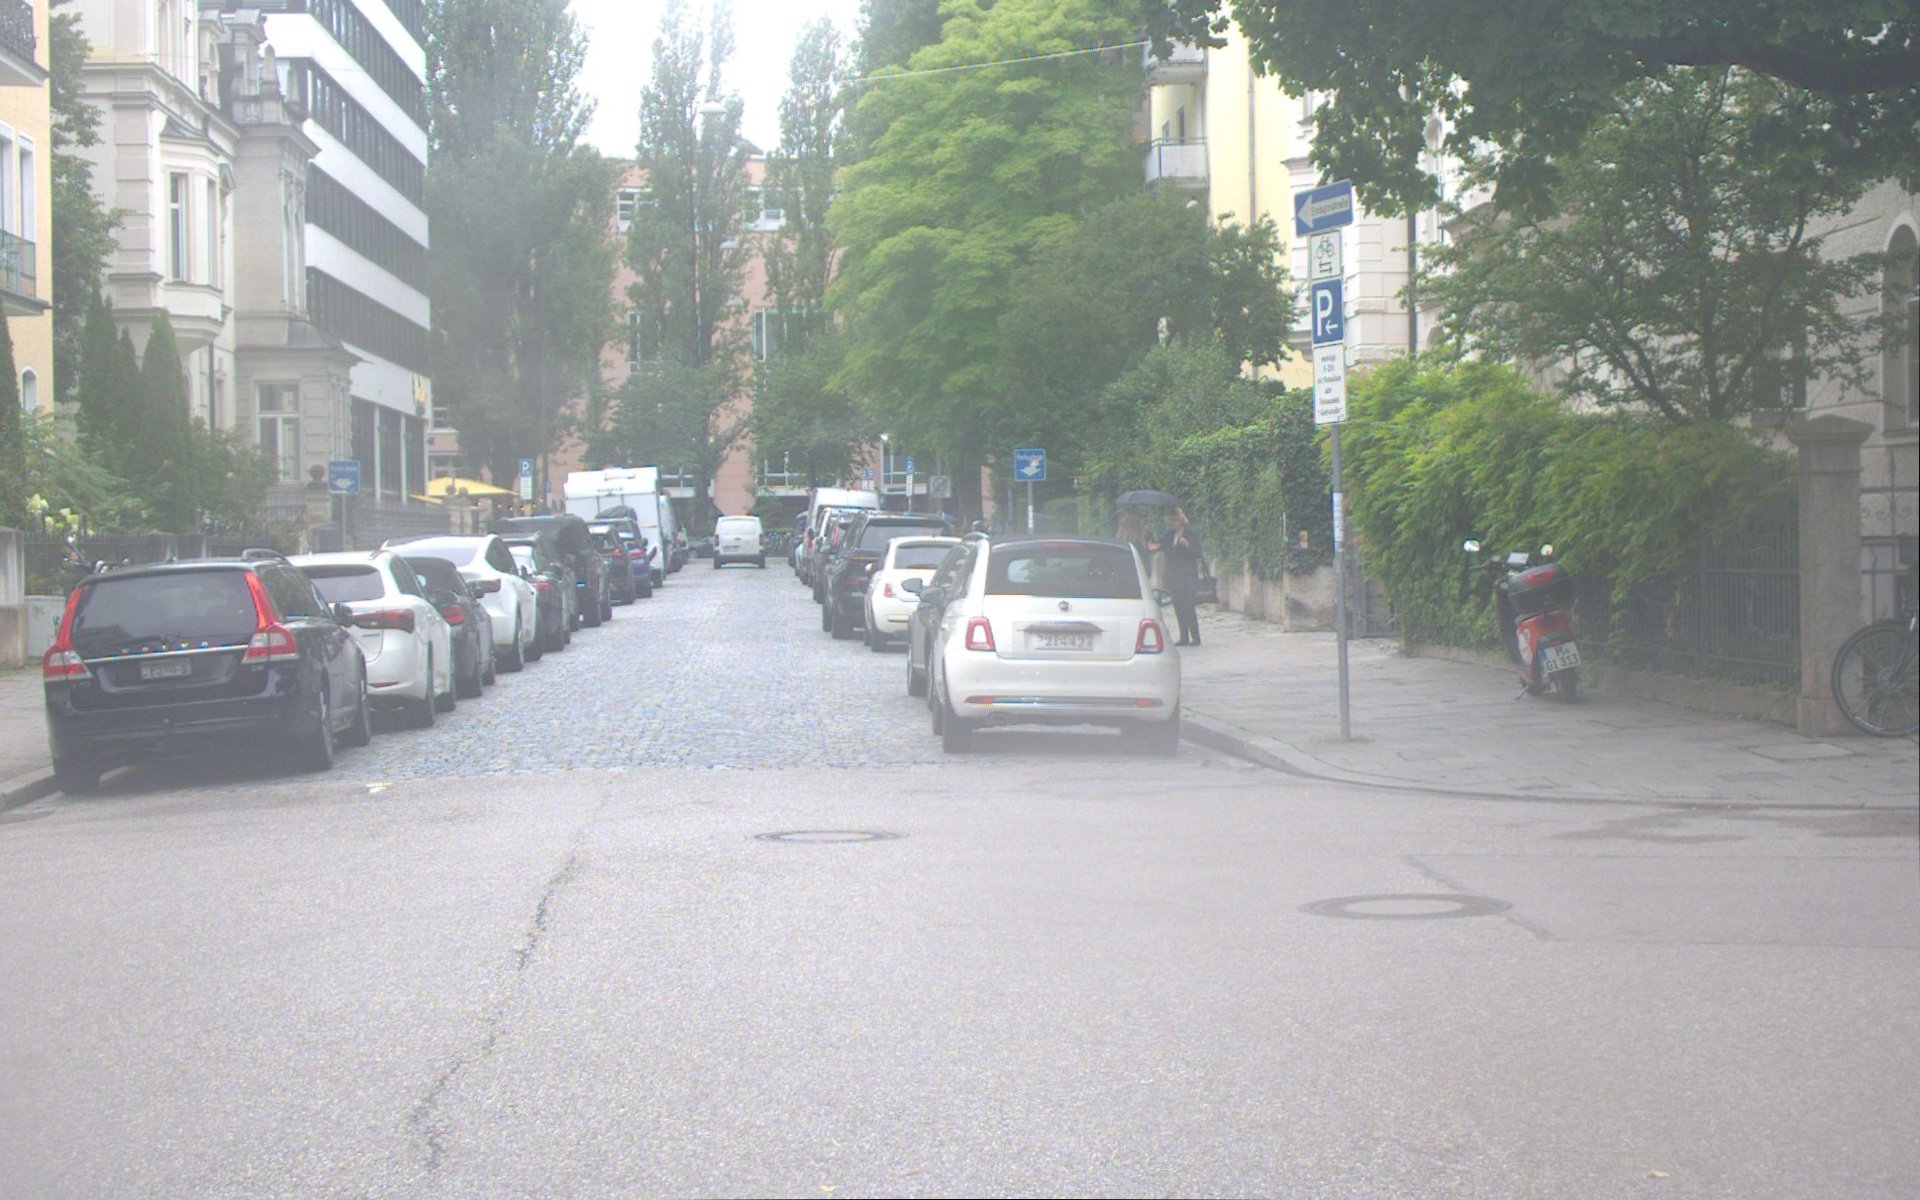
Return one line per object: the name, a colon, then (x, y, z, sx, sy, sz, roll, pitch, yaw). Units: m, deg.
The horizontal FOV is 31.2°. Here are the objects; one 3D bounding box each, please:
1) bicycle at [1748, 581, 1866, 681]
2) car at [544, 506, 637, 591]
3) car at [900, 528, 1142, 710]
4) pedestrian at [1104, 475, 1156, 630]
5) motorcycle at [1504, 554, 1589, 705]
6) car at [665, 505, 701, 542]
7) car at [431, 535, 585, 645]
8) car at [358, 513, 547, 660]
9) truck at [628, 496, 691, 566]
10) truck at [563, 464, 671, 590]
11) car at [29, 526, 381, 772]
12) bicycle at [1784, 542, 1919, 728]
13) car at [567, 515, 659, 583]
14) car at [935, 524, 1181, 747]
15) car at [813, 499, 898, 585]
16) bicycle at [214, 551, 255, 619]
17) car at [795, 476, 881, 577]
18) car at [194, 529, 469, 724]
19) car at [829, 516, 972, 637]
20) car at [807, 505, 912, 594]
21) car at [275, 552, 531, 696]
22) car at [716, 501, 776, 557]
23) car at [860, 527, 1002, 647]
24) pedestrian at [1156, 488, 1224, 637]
bicycle: (7.313, 0.255, 29.760, 0.491, 0.809, 2.273, 0, 1, 1)
car: (-7.629, -1.063, 71.243, 1.773, 1.712, 4.392, 0, 1, -4)
car: (0.468, 0.126, 30.751, 1.648, 1.417, 4.633, 3, 1, -5)
pedestrian: (2.059, -0.580, 41.568, 0.576, 1.844, 0.681, -1, 1, 4)
motorcycle: (4.334, 0.205, 25.456, 0.362, 1.086, 1.404, 0, 1, -1)
car: (-11.465, -3.157, 142.383, 1.276, 1.536, 3.119, 0, 1, -1)
car: (-6.124, -0.160, 46.950, 1.773, 1.424, 4.392, 0, 1, -3)
car: (-5.946, -0.181, 40.684, 1.773, 1.642, 4.391, 0, 1, -2)
truck: (-10.196, -2.332, 116.803, 1.993, 2.338, 4.069, 0, 1, -3)
truck: (-8.718, -1.884, 87.794, 2.508, 3.021, 6.386, -2, 2, -4)
car: (-5.262, 0.281, 24.530, 1.852, 1.580, 4.749, 0, 1, -5)
bicycle: (6.054, 0.201, 21.168, 1.838, 1.120, 0.562, -1, 1, 7)
car: (-7.715, -1.138, 76.614, 1.939, 1.454, 4.059, 0, 1, -4)
car: (0.638, 0.208, 24.684, 1.501, 1.466, 3.796, 0, 1, -2)
car: (-2.578, -1.413, 83.929, 1.800, 1.943, 4.861, 3, 1, -4)
bicycle: (-10.962, -0.234, 51.977, 0.352, 0.999, 1.573, 0, 1, -2)
car: (-3.208, -1.934, 89.352, 1.894, 2.418, 5.612, 3, 1, -4)
car: (-5.282, 0.174, 29.390, 1.773, 1.531, 4.541, 0, 1, -3)
car: (-0.928, -0.364, 50.301, 1.875, 1.667, 5.492, 0, 1, -3)
car: (-2.118, -1.045, 71.086, 1.963, 1.753, 4.955, 0, 1, -4)
car: (-5.529, 0.195, 34.636, 1.773, 1.355, 4.391, 0, 1, 1)
car: (-7.487, -2.491, 120.612, 1.996, 1.929, 4.000, 0, 1, -2)
car: (-0.416, -0.193, 45.240, 1.630, 1.464, 3.659, 2, 1, -4)
pedestrian: (2.816, -0.460, 42.023, 0.659, 1.802, 0.629, 1, 1, 23)
